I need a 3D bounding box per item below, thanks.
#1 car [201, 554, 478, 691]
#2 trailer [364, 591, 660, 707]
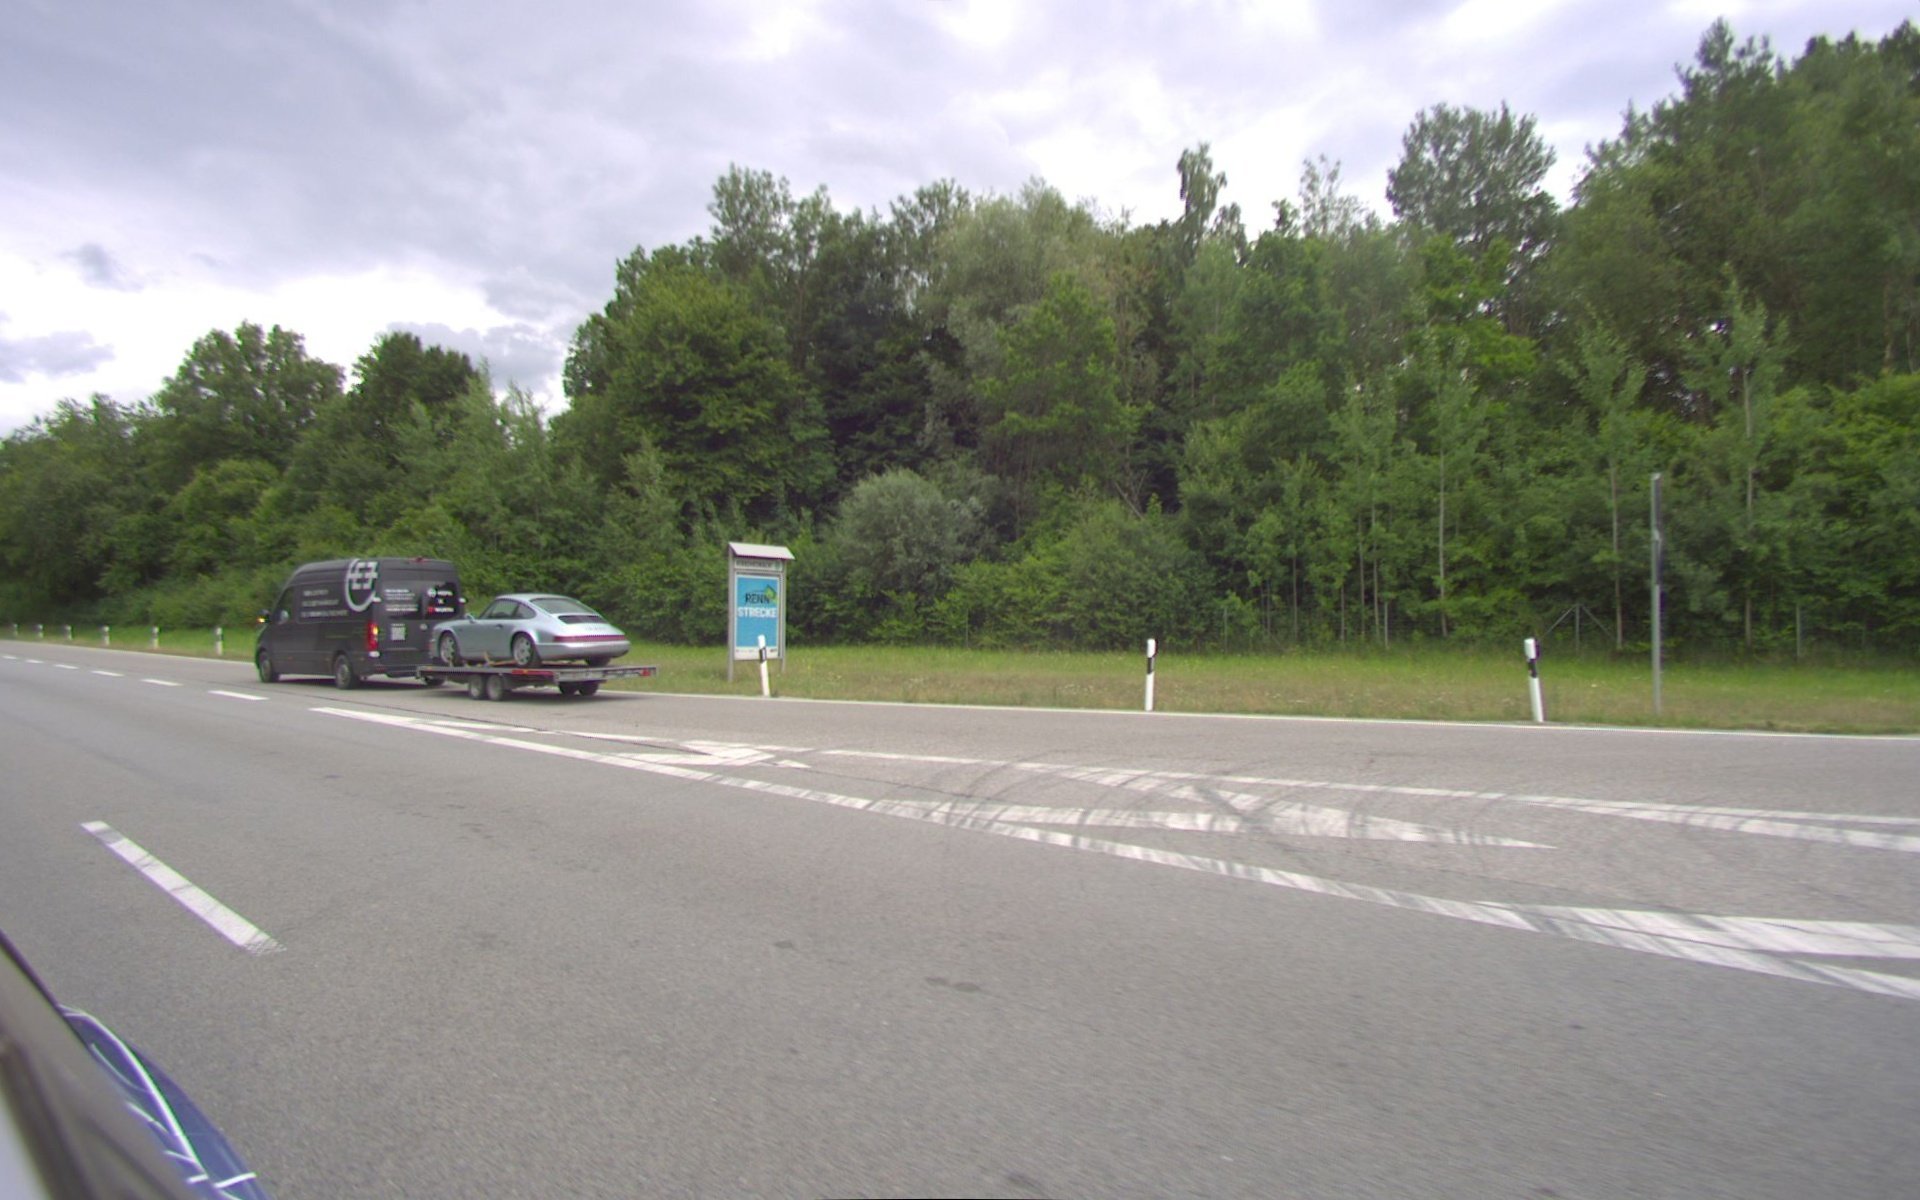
[{"bbox_3d":[-13.457,0.486,21.731,7.142,2.549,2.238,-1,-2,33],"label":"car"},{"bbox_3d":[-8.114,0.786,18.123,5.671,1.805,2.039,-1,0,32],"label":"trailer"}]
